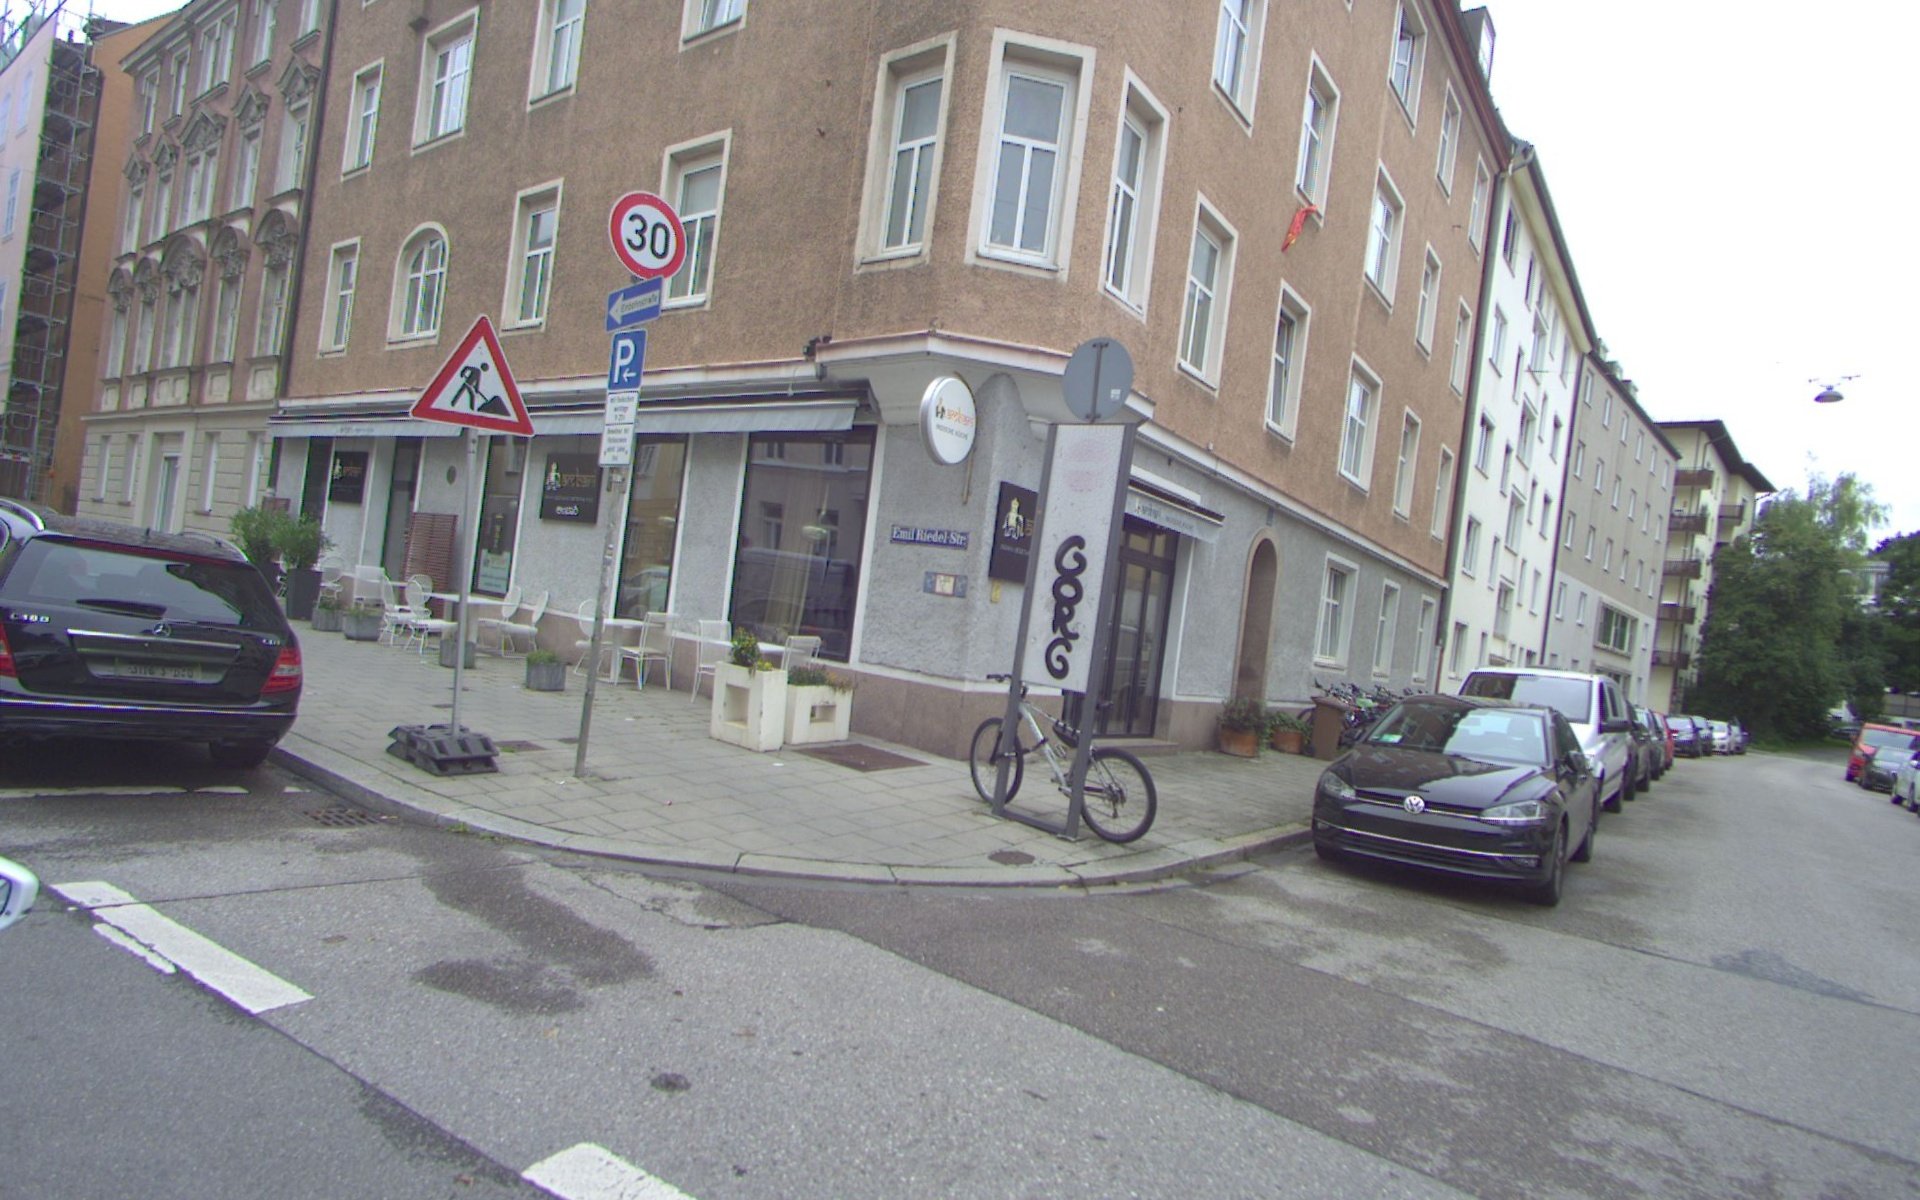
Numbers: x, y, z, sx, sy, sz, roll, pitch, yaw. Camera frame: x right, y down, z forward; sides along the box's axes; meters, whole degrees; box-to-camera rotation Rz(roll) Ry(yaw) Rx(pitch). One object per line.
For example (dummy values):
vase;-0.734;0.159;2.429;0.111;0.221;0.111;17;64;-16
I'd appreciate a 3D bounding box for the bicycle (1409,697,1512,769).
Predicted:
bicycle;11.058;2.933;22.285;1.891;1.275;0.418;7;0;21

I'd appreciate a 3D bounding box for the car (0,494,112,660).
car;-10.076;-0.401;9.940;4.118;1.411;1.573;6;-1;36

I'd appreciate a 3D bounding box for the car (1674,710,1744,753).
car;33.832;5.960;45.400;1.952;1.586;4.410;6;-2;43

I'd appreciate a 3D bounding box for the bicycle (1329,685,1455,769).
bicycle;7.510;2.195;17.572;1.893;1.157;0.418;7;0;21

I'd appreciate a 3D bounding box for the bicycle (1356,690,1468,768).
bicycle;8.402;2.381;18.756;1.767;1.157;0.418;7;0;21

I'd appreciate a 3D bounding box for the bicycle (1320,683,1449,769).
bicycle;7.198;2.129;17.128;1.893;1.157;0.418;7;0;21

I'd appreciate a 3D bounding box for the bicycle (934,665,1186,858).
bicycle;0.690;1.124;7.425;1.776;1.018;0.495;9;3;40

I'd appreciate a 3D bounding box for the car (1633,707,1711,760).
car;26.863;4.976;37.910;1.950;1.587;4.651;6;-1;40

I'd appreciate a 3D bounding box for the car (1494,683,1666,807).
car;11.002;2.471;17.725;1.949;1.664;3.982;6;-1;39

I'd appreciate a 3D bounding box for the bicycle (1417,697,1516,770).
bicycle;11.921;3.127;23.729;1.891;1.421;0.418;7;0;21

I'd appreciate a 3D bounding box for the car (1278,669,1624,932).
car;4.442;1.551;8.764;1.864;1.505;3.873;6;-1;38

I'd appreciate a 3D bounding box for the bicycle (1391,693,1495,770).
bicycle;9.810;2.667;20.488;1.767;1.275;0.418;7;0;21

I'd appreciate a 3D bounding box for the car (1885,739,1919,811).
car;23.491;4.233;23.712;1.949;1.586;4.418;7;-2;38

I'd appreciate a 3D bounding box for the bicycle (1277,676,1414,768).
bicycle;6.098;1.916;15.993;1.893;1.157;0.475;7;0;21

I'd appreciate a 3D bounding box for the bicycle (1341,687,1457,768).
bicycle;7.838;2.265;18.041;1.767;1.157;0.418;7;0;21

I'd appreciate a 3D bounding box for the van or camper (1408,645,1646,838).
van or camper;7.745;1.804;13.467;1.933;1.941;4.899;5;-3;38

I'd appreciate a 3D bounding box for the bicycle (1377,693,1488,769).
bicycle;8.973;2.483;19.166;1.767;1.157;0.418;7;0;21

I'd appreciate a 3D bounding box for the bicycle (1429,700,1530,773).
bicycle;11.135;2.913;21.609;1.767;1.275;0.418;7;0;21

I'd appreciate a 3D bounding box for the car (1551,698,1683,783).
car;15.495;3.286;23.600;1.950;1.520;4.653;7;-2;40

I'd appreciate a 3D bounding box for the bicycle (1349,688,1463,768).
bicycle;8.104;2.319;18.360;1.767;1.157;0.418;7;0;21

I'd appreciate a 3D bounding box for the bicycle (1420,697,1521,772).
bicycle;11.750;3.077;23.197;1.891;1.426;0.418;7;0;21

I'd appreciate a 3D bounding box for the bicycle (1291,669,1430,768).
bicycle;6.494;1.900;16.392;1.894;1.157;0.475;13;2;21

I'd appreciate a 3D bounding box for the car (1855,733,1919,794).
car;28.813;4.993;30.632;1.949;1.586;4.416;7;-2;39

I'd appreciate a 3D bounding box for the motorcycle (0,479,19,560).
motorcycle;-19.360;-1.670;19.762;1.968;1.522;0.871;7;-1;39

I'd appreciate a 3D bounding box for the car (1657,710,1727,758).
car;30.268;5.488;41.545;1.950;1.587;4.413;6;-1;40

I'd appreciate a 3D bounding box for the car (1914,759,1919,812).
car;20.716;3.726;19.991;1.949;1.586;4.418;7;-2;38

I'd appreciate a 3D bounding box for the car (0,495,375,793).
car;-6.042;0.074;6.793;4.715;1.421;1.847;7;-1;37

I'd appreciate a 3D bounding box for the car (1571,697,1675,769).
car;18.685;3.664;28.249;1.949;1.587;4.653;6;-1;38

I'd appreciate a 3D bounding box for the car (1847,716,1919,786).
car;32.030;5.191;34.605;2.037;2.002;4.413;7;-2;41

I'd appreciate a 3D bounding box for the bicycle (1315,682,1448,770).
bicycle;6.981;2.079;16.743;1.893;1.157;0.418;7;0;21

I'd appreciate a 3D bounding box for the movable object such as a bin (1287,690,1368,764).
movable object such as a bin;5.677;1.942;15.541;0.952;0.962;0.733;8;1;30

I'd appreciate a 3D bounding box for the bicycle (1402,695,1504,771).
bicycle;10.281;2.762;21.038;1.767;1.275;0.418;7;0;21
